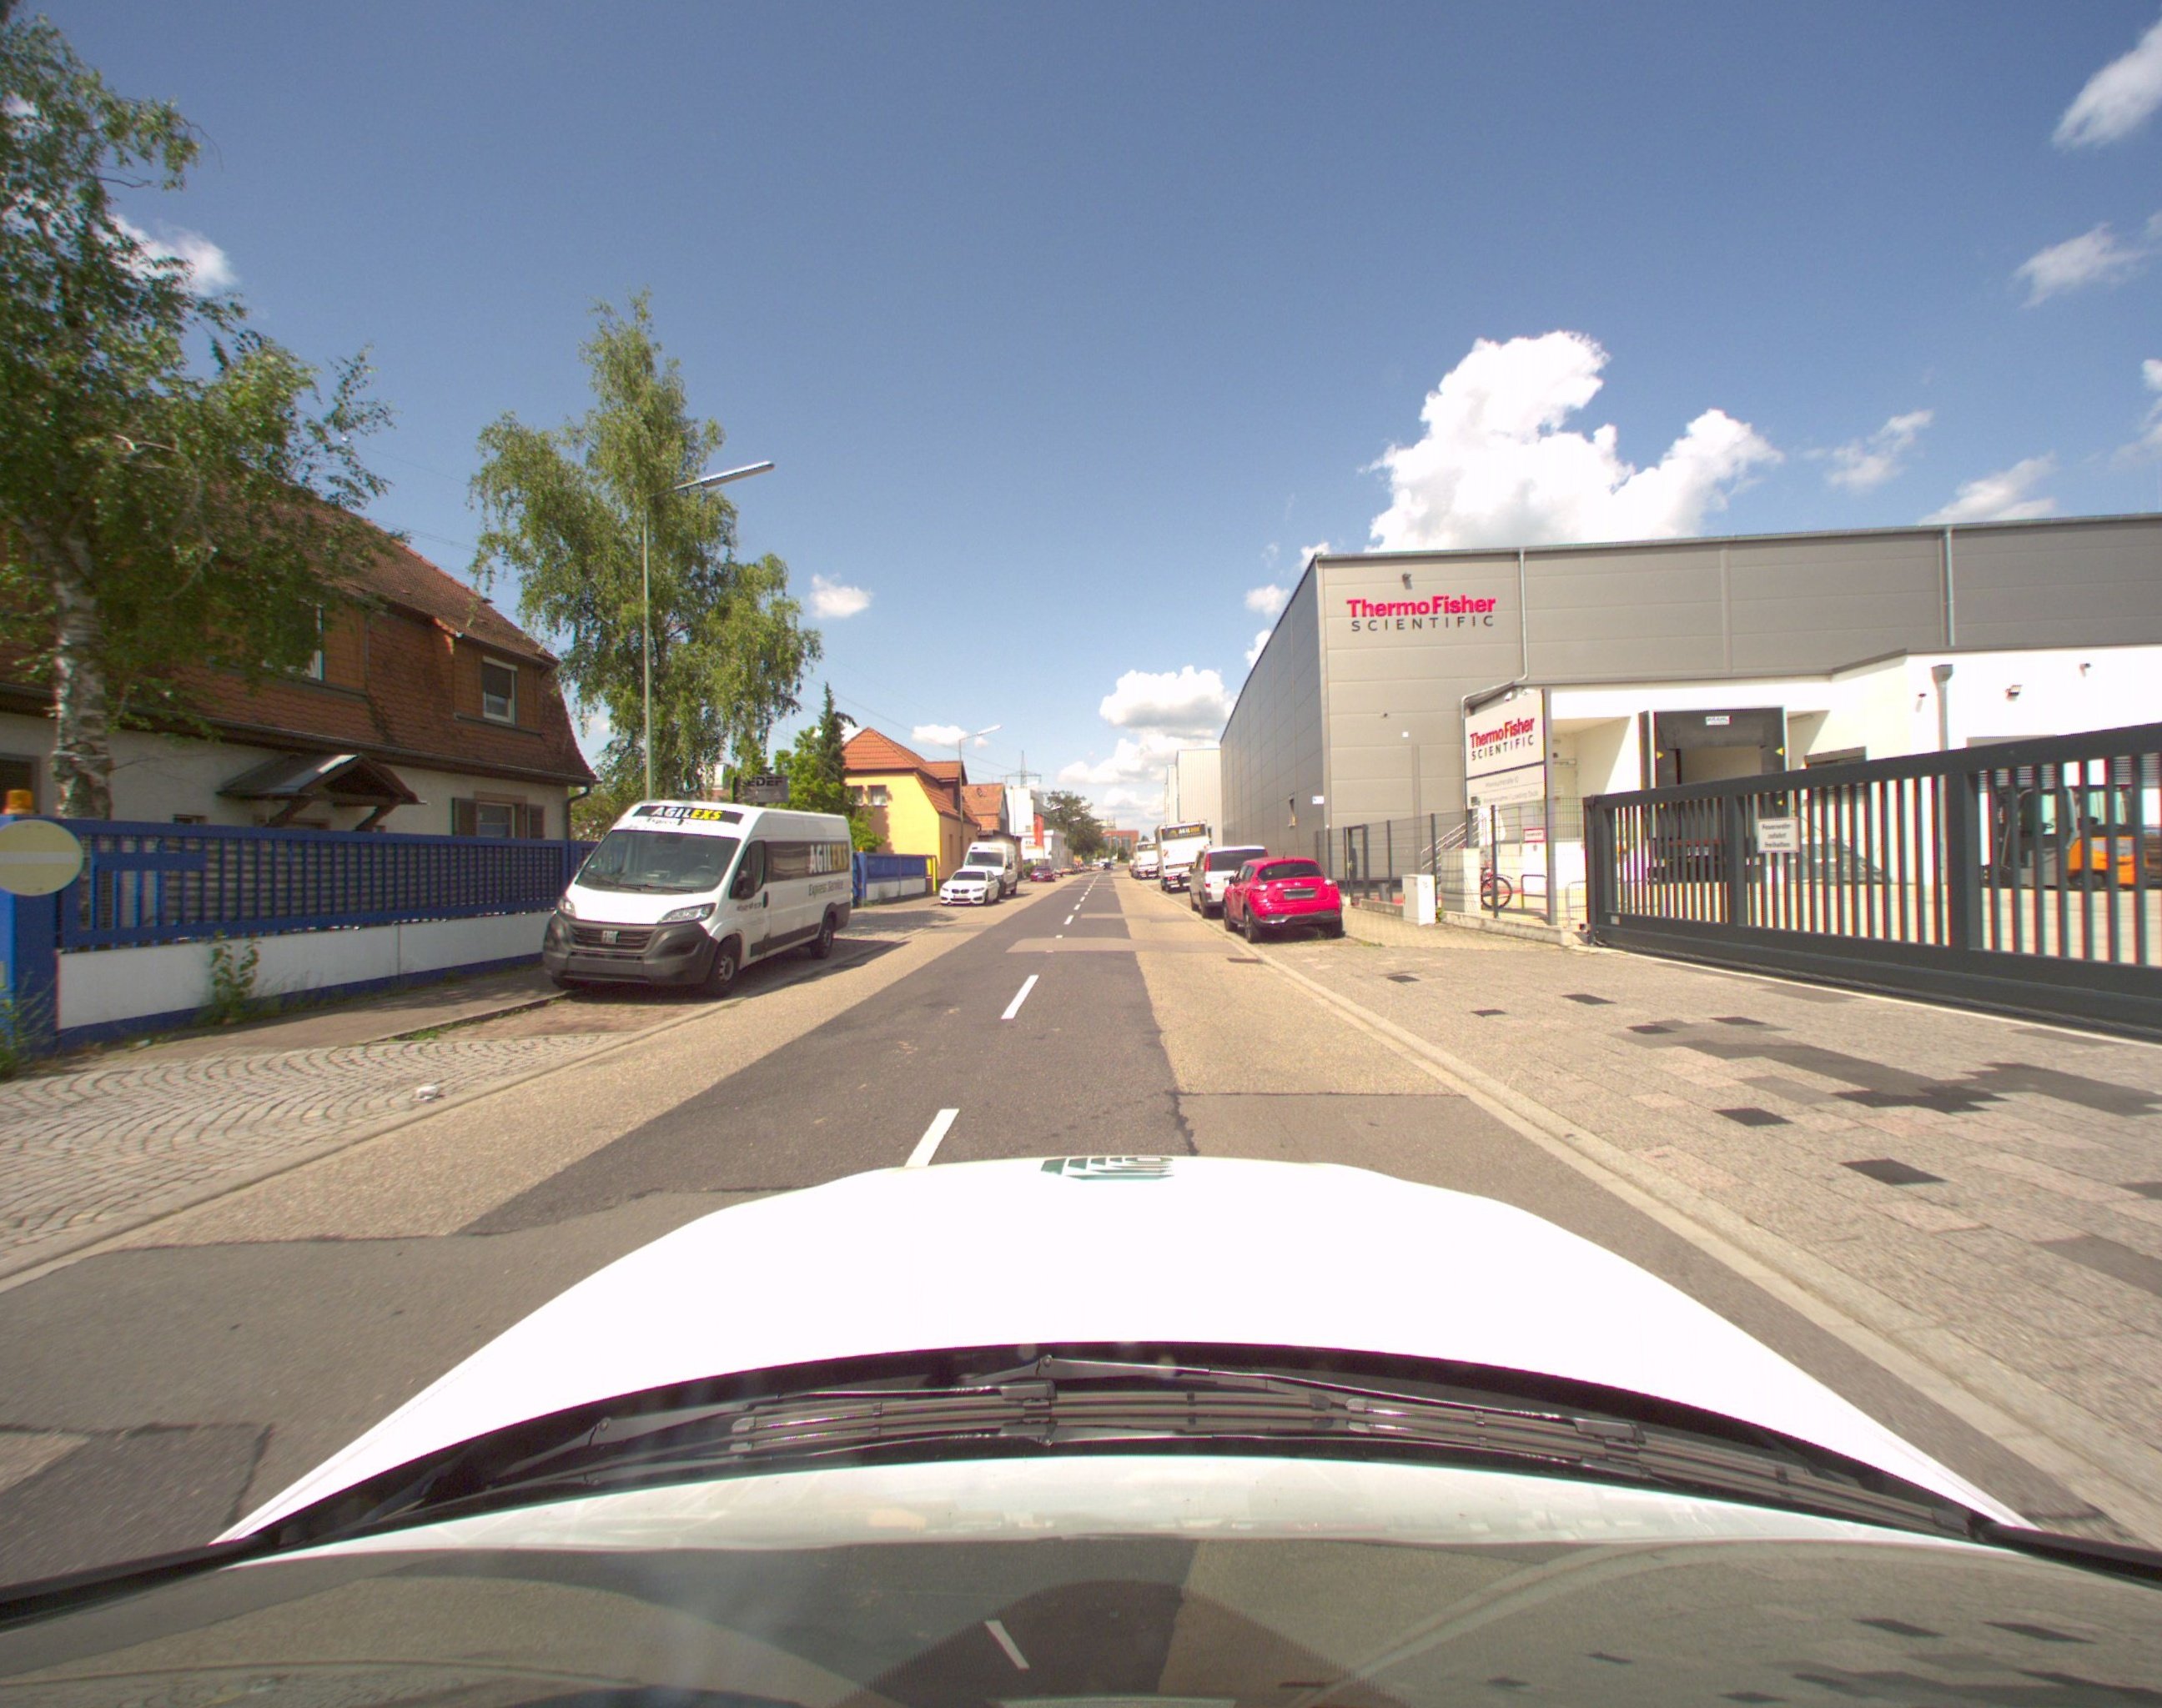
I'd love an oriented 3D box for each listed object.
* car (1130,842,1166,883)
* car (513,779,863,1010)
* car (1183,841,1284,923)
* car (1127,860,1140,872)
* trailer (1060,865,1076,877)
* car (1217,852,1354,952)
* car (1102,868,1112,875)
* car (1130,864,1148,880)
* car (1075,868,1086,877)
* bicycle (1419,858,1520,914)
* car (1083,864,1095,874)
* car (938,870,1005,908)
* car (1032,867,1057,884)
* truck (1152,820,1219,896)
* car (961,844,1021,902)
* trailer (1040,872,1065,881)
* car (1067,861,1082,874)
[{"bbox_3d":[5.844,0.781,72.167,2.381,3.363,6.641,-4,-1,-1],"label":"car"},{"bbox_3d":[-5.277,0.523,12.447,2.023,2.558,6.655,1,-1,0],"label":"car"},{"bbox_3d":[4.199,0.749,23.323,2.045,1.903,5.150,-5,-1,3],"label":"car"},{"bbox_3d":[8.166,1.894,126.252,1.931,1.742,4.381,-2,-1,4],"label":"car"},{"bbox_3d":[-1.750,2.301,110.848,1.986,1.557,4.255,-1,-1,2],"label":"trailer"},{"bbox_3d":[3.954,0.840,16.430,1.698,1.624,4.093,-5,0,1],"label":"car"},{"bbox_3d":[5.152,3.381,161.499,1.910,1.285,3.618,-2,-1,4],"label":"car"},{"bbox_3d":[5.997,1.838,84.561,1.761,1.612,3.876,-1,-1,3],"label":"car"},{"bbox_3d":[-0.092,2.983,131.853,1.662,1.447,3.455,1,-1,2],"label":"car"},{"bbox_3d":[8.602,0.705,18.064,1.941,1.143,0.458,-3,-1,4],"label":"bicycle"},{"bbox_3d":[1.421,2.719,149.795,1.913,1.794,4.004,0,-1,4],"label":"car"},{"bbox_3d":[-4.253,1.336,32.173,1.788,1.397,4.505,0,-1,3],"label":"car"},{"bbox_3d":[-3.170,1.839,71.038,1.755,1.447,4.743,1,-1,2],"label":"car"},{"bbox_3d":[5.093,0.247,40.960,2.449,3.293,6.821,-6,-1,2],"label":"truck"},{"bbox_3d":[-4.207,0.908,39.328,2.020,2.561,6.840,0,-1,1],"label":"car"},{"bbox_3d":[-3.069,2.483,89.794,2.353,0.893,5.571,1,-1,2],"label":"trailer"},{"bbox_3d":[-1.047,2.153,126.381,1.984,2.014,4.004,0,-1,4],"label":"car"}]
